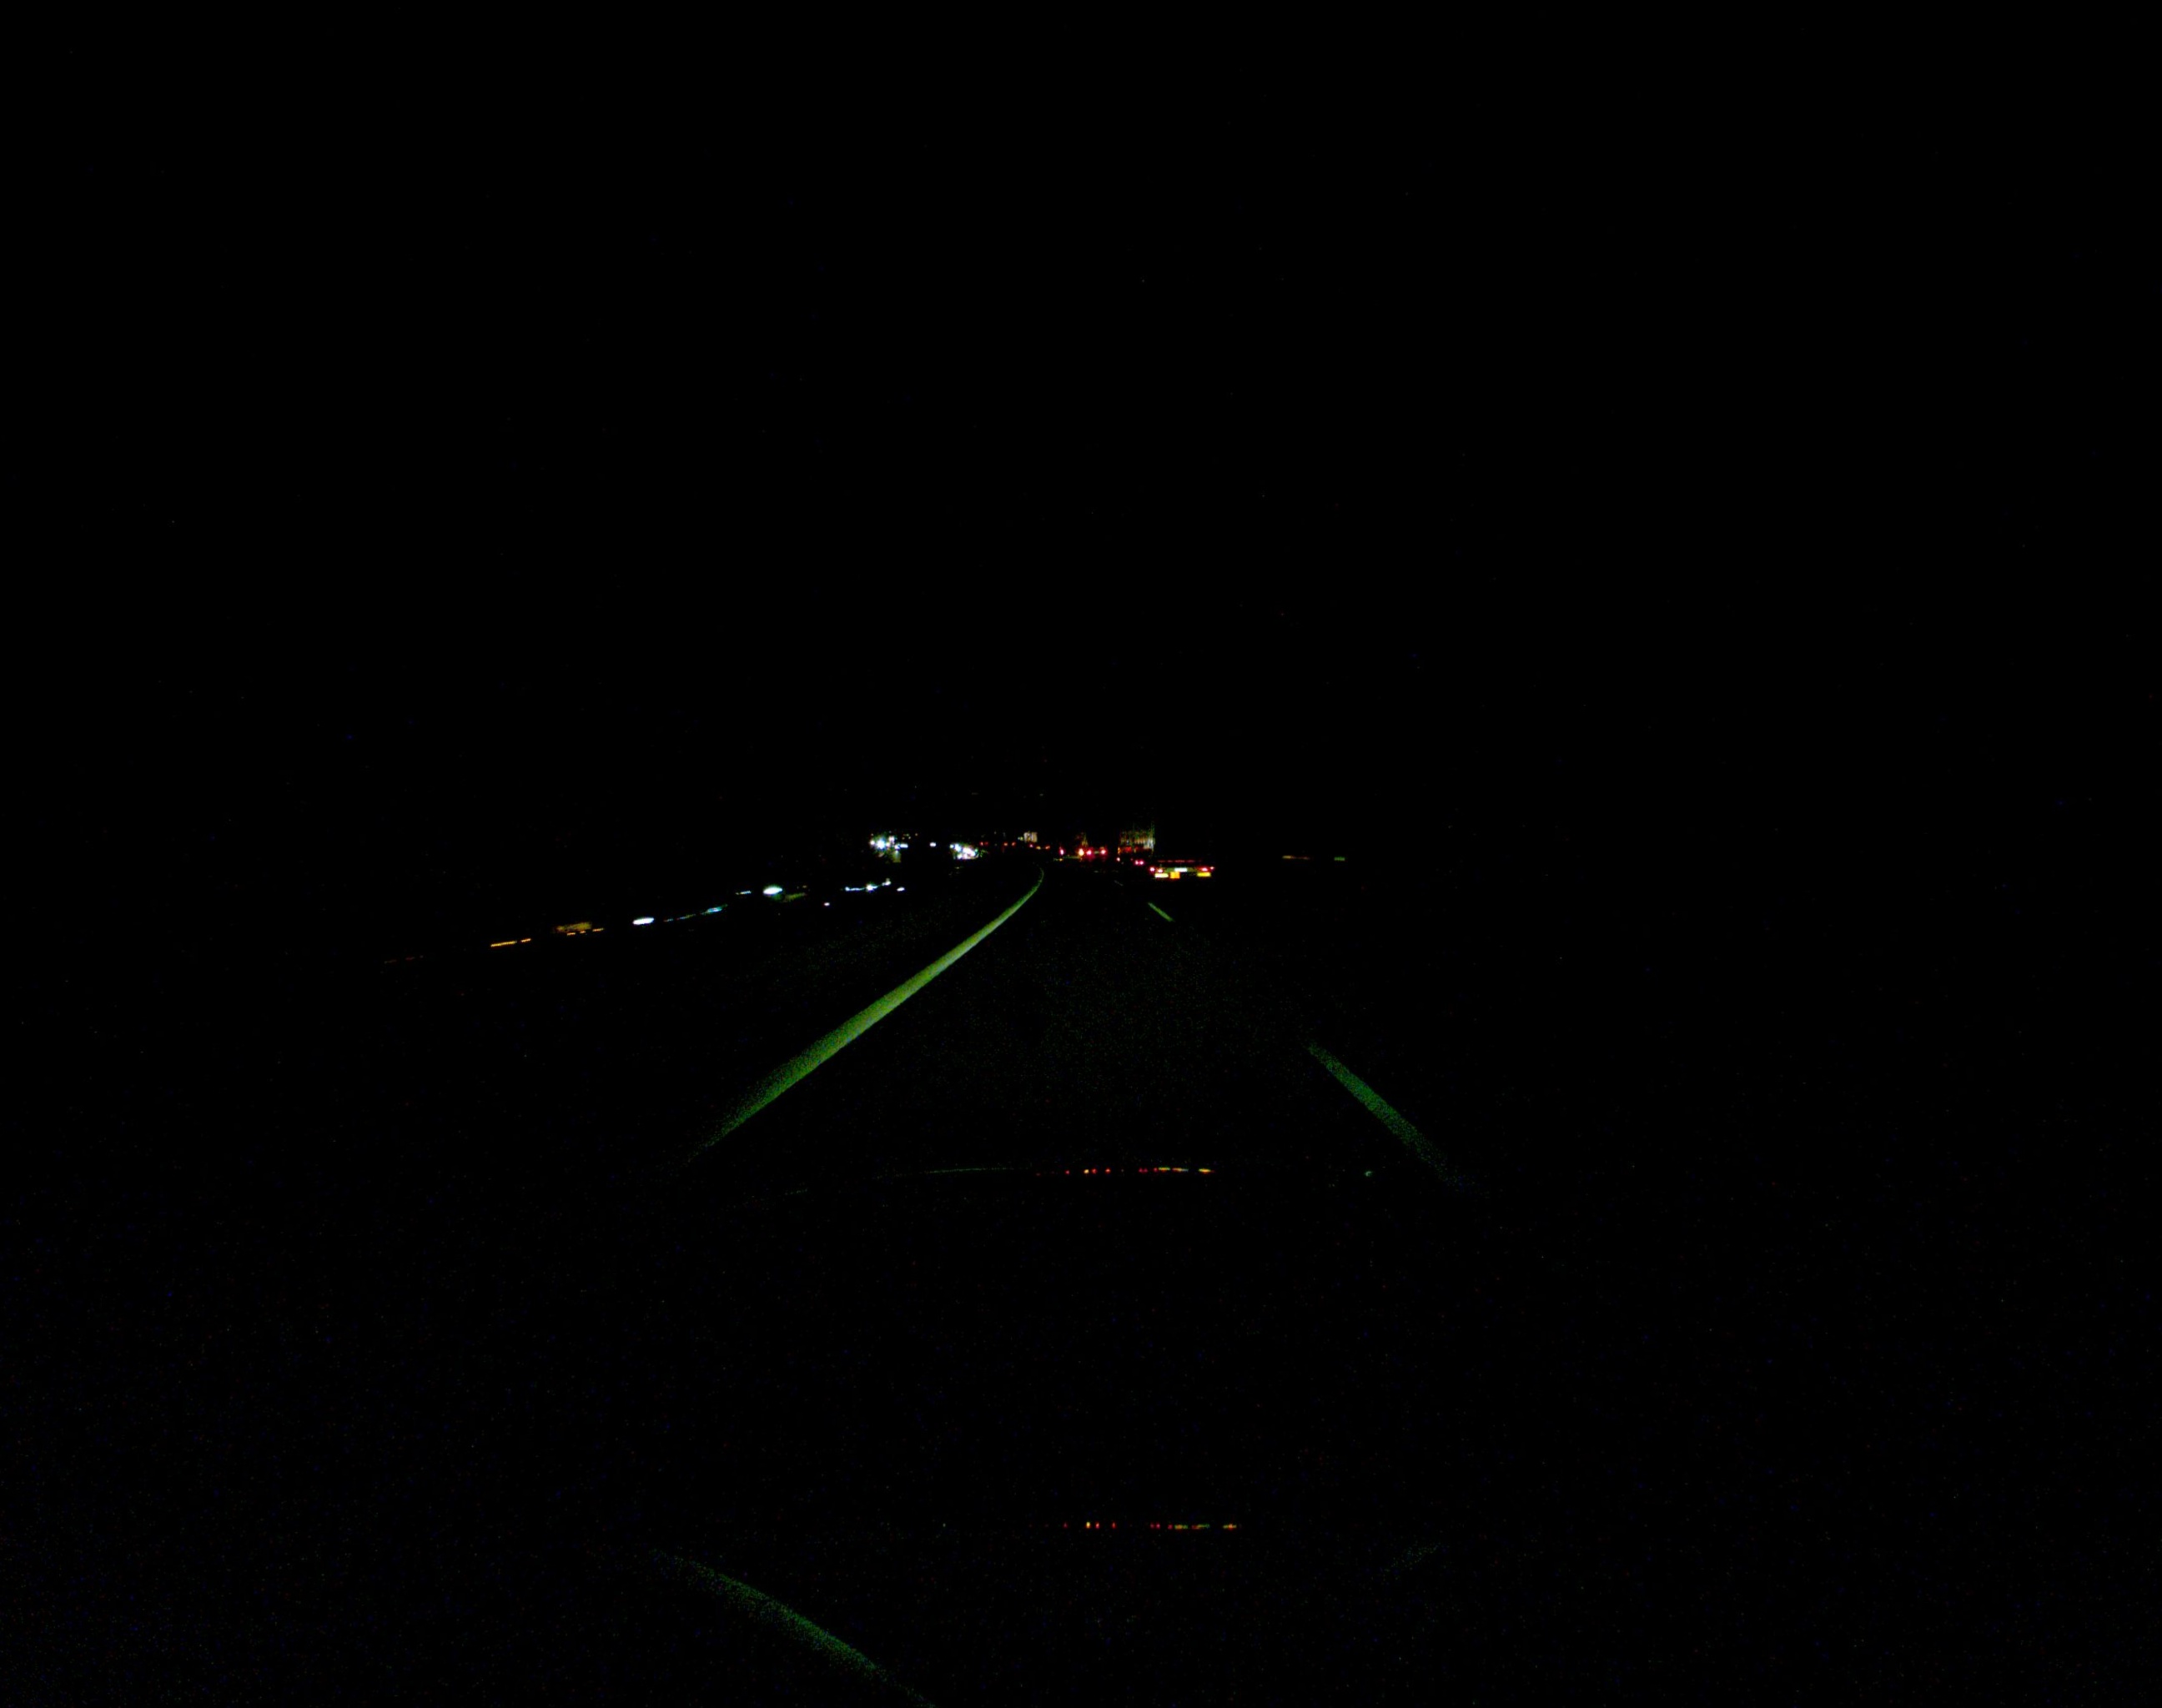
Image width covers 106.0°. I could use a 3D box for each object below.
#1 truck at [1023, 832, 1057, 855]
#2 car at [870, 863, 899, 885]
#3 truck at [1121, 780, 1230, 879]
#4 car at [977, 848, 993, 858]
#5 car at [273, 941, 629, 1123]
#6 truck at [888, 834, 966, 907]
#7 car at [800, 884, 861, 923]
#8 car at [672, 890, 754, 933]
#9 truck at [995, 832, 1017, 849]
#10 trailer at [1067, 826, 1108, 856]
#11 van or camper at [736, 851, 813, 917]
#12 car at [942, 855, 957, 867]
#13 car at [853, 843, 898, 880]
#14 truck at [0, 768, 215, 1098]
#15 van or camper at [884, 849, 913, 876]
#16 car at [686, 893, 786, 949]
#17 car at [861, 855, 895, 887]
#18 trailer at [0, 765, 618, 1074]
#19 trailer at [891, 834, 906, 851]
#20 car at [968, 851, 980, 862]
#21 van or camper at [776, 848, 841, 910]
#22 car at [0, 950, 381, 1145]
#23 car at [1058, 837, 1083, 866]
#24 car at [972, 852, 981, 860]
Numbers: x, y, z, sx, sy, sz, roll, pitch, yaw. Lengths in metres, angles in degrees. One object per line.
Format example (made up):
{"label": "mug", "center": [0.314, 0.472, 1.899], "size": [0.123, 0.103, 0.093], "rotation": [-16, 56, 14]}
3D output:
{"label": "truck", "center": [-9.385, -2.357, 182.905], "size": [3.920, 4.626, 20.926], "rotation": [-3, 2, -13]}
{"label": "car", "center": [-18.538, 1.813, 77.081], "size": [1.831, 1.859, 5.438], "rotation": [-2, 0, -5]}
{"label": "truck", "center": [4.413, -1.047, 43.496], "size": [3.472, 4.134, 18.702], "rotation": [-1, 0, -1]}
{"label": "car", "center": [-14.474, -0.114, 122.903], "size": [1.757, 1.354, 4.269], "rotation": [-3, 1, -15]}
{"label": "car", "center": [-7.868, 2.119, 10.740], "size": [1.596, 1.442, 3.998], "rotation": [-2, 0, -2]}
{"label": "truck", "center": [-8.304, 0.824, 44.880], "size": [2.646, 3.591, 8.548], "rotation": [-1, 0, 0]}
{"label": "car", "center": [-11.321, 2.203, 37.030], "size": [1.597, 1.442, 4.134], "rotation": [-2, 0, -2]}
{"label": "car", "center": [-15.076, 2.311, 33.581], "size": [1.596, 1.442, 3.998], "rotation": [-2, 0, -1]}
{"label": "truck", "center": [-20.521, -3.772, 222.221], "size": [3.351, 4.475, 13.835], "rotation": [1, 1, -16]}
{"label": "trailer", "center": [0.786, -1.996, 118.129], "size": [2.858, 4.066, 13.145], "rotation": [-2, 2, -14]}
{"label": "van or camper", "center": [-15.388, 1.393, 41.279], "size": [1.831, 2.971, 6.389], "rotation": [-2, 0, -5]}
{"label": "car", "center": [-17.668, 0.910, 109.661], "size": [1.603, 1.479, 4.068], "rotation": [-3, 1, -4]}
{"label": "car", "center": [-11.767, 0.415, 46.916], "size": [1.992, 2.013, 3.990], "rotation": [-1, 0, -7]}
{"label": "truck", "center": [-15.602, 1.084, 9.812], "size": [3.407, 4.223, 6.282], "rotation": [-3, 0, 0]}
{"label": "van or camper", "center": [-19.861, 0.868, 88.910], "size": [2.443, 2.760, 6.472], "rotation": [-2, 0, -7]}
{"label": "car", "center": [-11.245, 2.127, 26.856], "size": [1.596, 1.442, 3.998], "rotation": [-2, 0, -1]}
{"label": "car", "center": [-16.740, 1.356, 67.456], "size": [1.831, 2.370, 5.438], "rotation": [-2, 0, -5]}
{"label": "trailer", "center": [-15.589, 0.943, 17.740], "size": [3.424, 4.240, 12.831], "rotation": [-3, 0, 0]}
{"label": "trailer", "center": [-50.599, -3.232, 225.858], "size": [2.847, 4.170, 13.209], "rotation": [-4, 2, -17]}
{"label": "car", "center": [-19.575, 0.454, 148.767], "size": [1.682, 1.566, 3.982], "rotation": [-5, -1, -12]}
{"label": "van or camper", "center": [-15.937, 1.370, 47.988], "size": [2.265, 3.379, 5.684], "rotation": [-2, 0, -5]}
{"label": "car", "center": [-11.491, 2.232, 10.307], "size": [1.596, 1.442, 4.253], "rotation": [-2, 0, -1]}
{"label": "car", "center": [-0.963, -0.250, 78.568], "size": [2.330, 2.640, 5.246], "rotation": [-1, 0, 0]}
{"label": "car", "center": [-18.879, 0.342, 146.737], "size": [1.419, 1.256, 3.117], "rotation": [-2, 2, -11]}
